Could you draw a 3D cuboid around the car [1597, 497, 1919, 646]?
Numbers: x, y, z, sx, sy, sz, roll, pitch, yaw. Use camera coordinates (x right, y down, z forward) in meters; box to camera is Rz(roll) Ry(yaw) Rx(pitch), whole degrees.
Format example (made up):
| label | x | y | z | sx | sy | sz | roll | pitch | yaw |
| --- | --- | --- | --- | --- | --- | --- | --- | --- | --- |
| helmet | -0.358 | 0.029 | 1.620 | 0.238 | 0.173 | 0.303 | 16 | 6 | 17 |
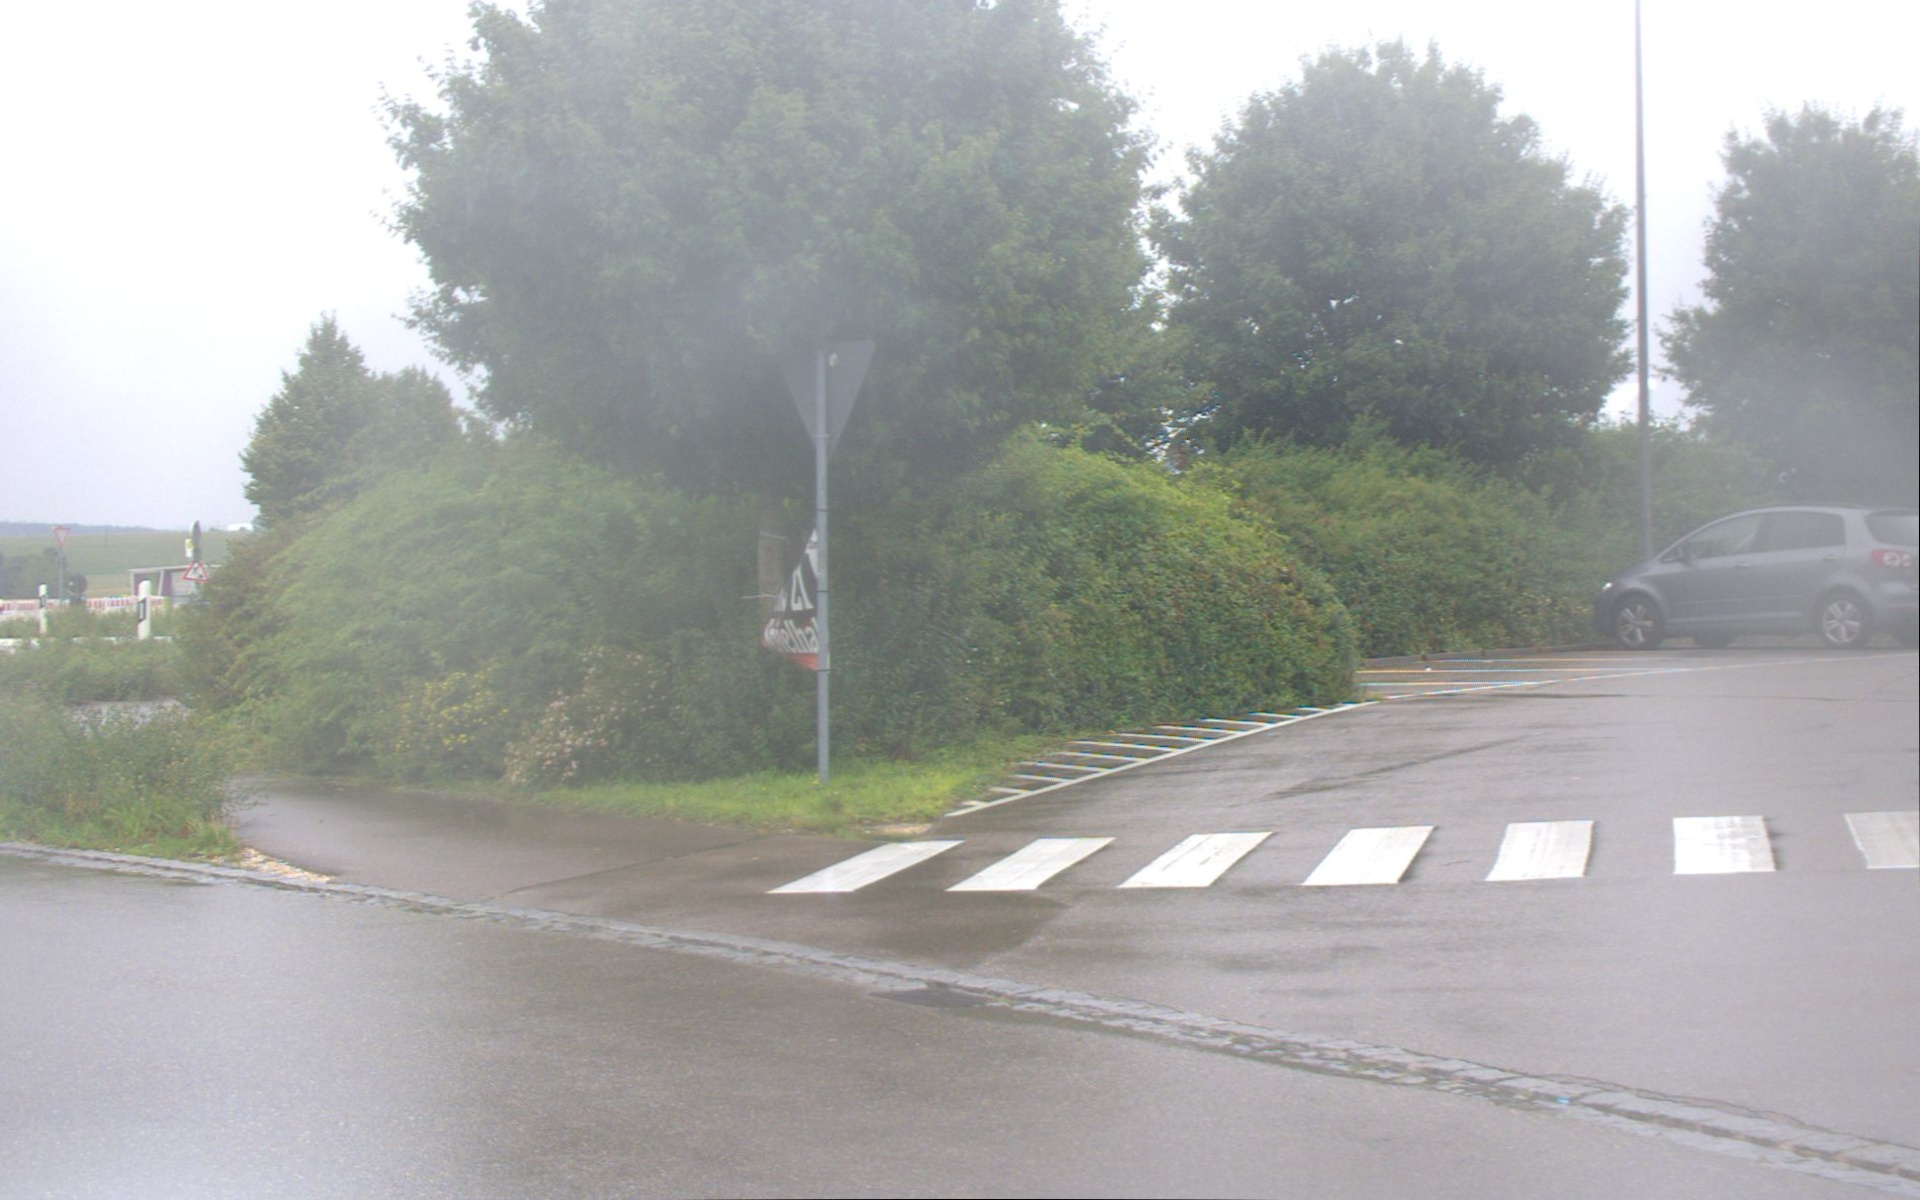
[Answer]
| label | x | y | z | sx | sy | sz | roll | pitch | yaw |
| --- | --- | --- | --- | --- | --- | --- | --- | --- | --- |
| car | 8.979 | -0.303 | 37.610 | 3.741 | 1.545 | 1.447 | -1 | 1 | 44 |
